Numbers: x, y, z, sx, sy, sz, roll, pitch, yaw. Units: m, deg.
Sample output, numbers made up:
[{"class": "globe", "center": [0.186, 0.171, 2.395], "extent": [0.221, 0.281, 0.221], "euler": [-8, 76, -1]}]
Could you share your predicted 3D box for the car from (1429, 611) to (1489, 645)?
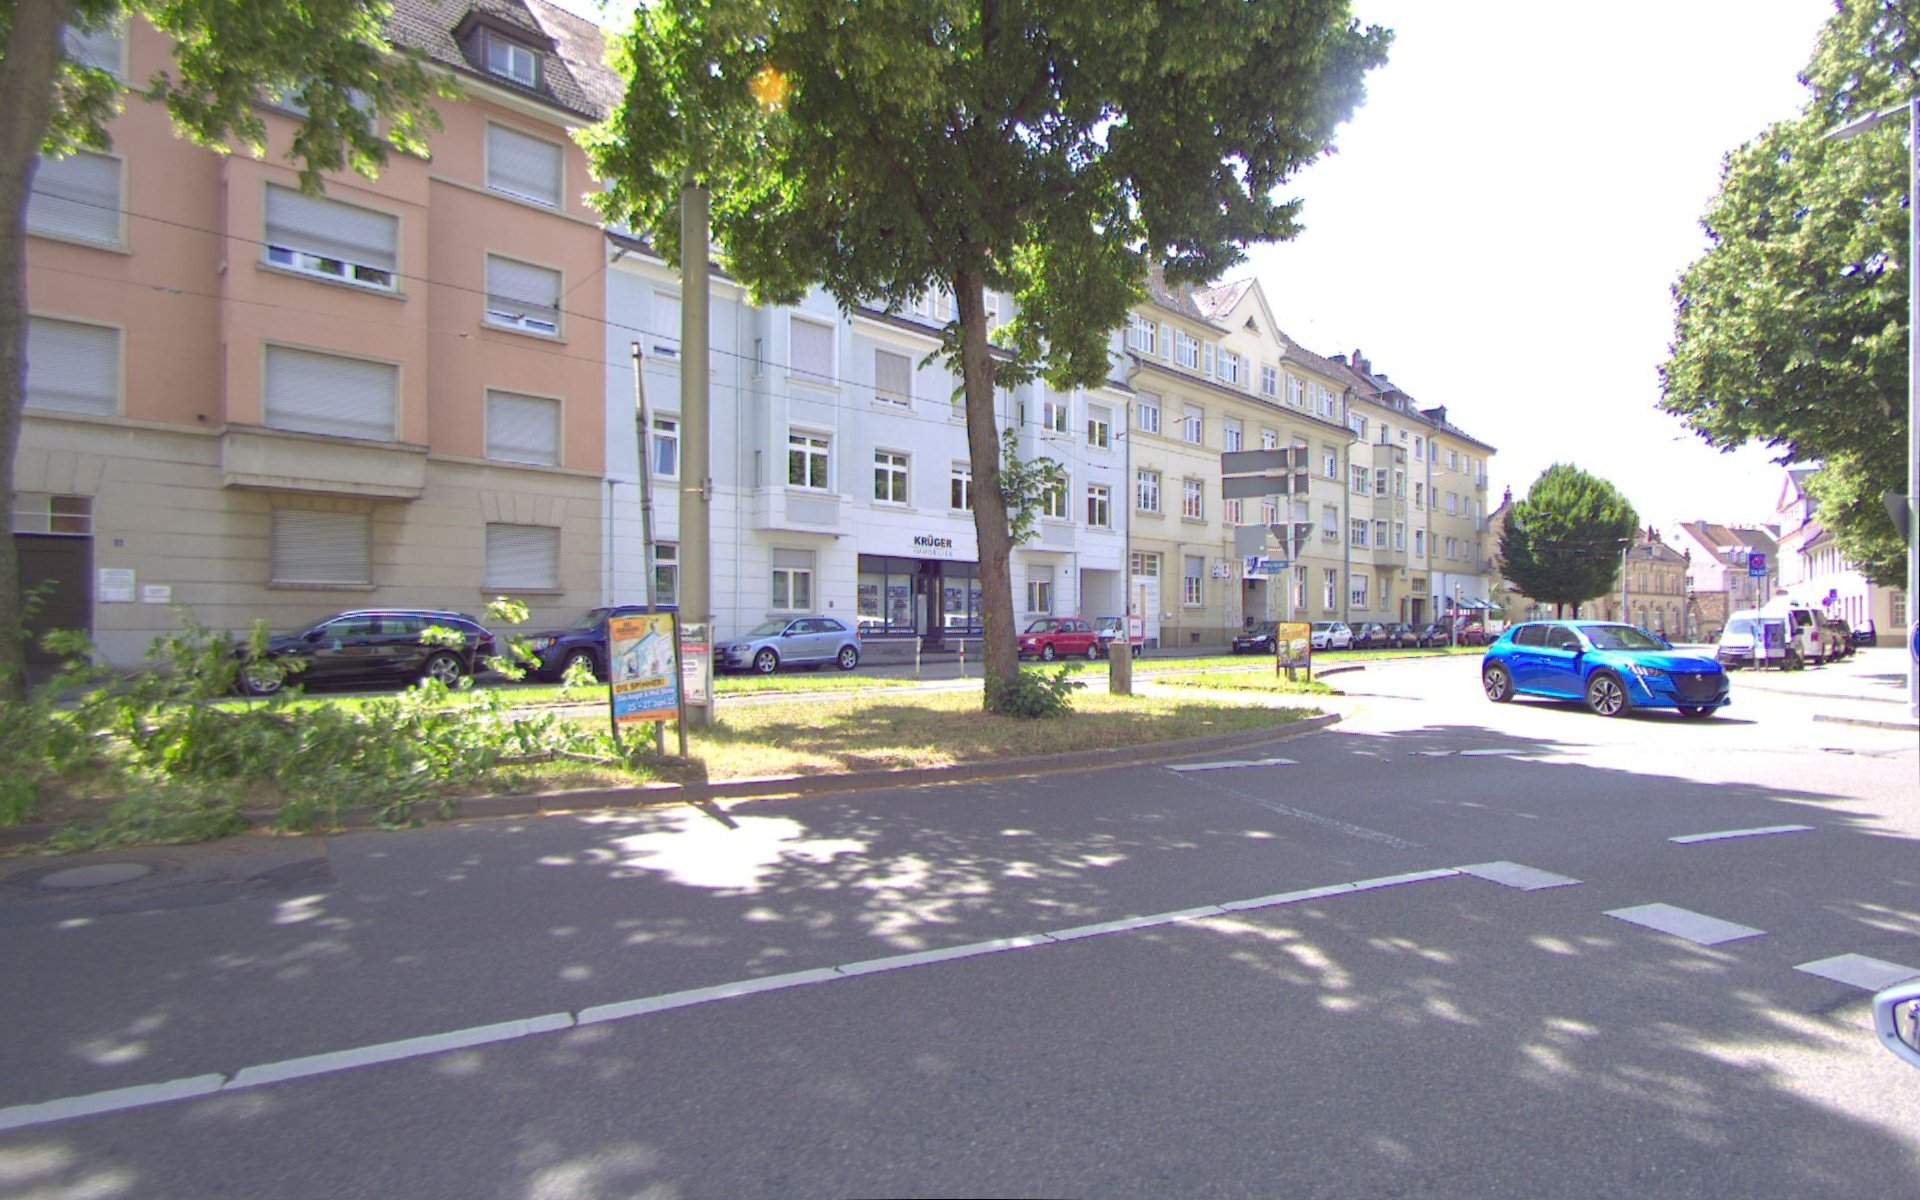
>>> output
[{"class": "car", "center": [30.500, 1.705, 61.342], "extent": [1.834, 1.936, 4.741], "euler": [-3, -3, 44]}]

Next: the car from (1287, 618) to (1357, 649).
[{"class": "car", "center": [17.255, 1.598, 47.848], "extent": [1.669, 1.408, 3.833], "euler": [-3, -3, 44]}]

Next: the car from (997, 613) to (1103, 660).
[{"class": "car", "center": [3.010, 1.200, 33.186], "extent": [1.555, 1.470, 3.603], "euler": [-3, -3, 44]}]

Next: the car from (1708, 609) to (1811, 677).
[{"class": "car", "center": [23.867, 1.217, 29.931], "extent": [1.973, 1.850, 4.395], "euler": [0, -1, 44]}]

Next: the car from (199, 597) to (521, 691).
[{"class": "car", "center": [-10.977, 0.783, 18.650], "extent": [1.908, 1.510, 4.832], "euler": [-3, -3, 44]}]

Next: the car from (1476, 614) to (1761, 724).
[{"class": "car", "center": [10.412, 1.003, 16.297], "extent": [1.781, 1.512, 3.997], "euler": [0, 0, -5]}]

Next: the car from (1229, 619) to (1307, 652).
[{"class": "car", "center": [13.491, 1.527, 43.918], "extent": [1.669, 1.378, 3.833], "euler": [-3, -3, 44]}]

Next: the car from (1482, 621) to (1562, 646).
[{"class": "car", "center": [35.871, 2.131, 64.135], "extent": [4.155, 1.524, 1.994], "euler": [-3, -3, 41]}]

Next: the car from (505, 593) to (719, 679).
[{"class": "car", "center": [-7.626, 0.786, 22.248], "extent": [1.818, 1.707, 4.117], "euler": [-3, -3, 44]}]

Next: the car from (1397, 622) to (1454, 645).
[{"class": "car", "center": [26.852, 1.907, 57.872], "extent": [1.625, 1.294, 4.237], "euler": [-3, -3, 44]}]

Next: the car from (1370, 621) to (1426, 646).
[{"class": "car", "center": [23.888, 1.828, 54.720], "extent": [1.586, 1.294, 3.564], "euler": [-3, -3, 44]}]

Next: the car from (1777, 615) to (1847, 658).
[{"class": "car", "center": [34.899, 1.453, 41.120], "extent": [4.455, 1.645, 1.766], "euler": [1, -1, -44]}]

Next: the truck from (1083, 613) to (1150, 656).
[{"class": "truck", "center": [5.664, 1.245, 36.274], "extent": [1.114, 1.514, 2.579], "euler": [-3, -3, 43]}]

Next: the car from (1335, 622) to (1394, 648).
[{"class": "car", "center": [20.695, 1.771, 51.385], "extent": [1.669, 1.294, 3.268], "euler": [-3, -3, 44]}]

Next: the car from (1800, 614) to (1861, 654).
[{"class": "car", "center": [39.940, 1.540, 46.042], "extent": [4.172, 1.716, 1.766], "euler": [1, -1, -44]}]

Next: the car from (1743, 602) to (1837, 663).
[{"class": "car", "center": [29.799, 1.124, 35.997], "extent": [5.213, 2.029, 2.029], "euler": [1, -1, -44]}]

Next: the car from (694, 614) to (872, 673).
[{"class": "car", "center": [-4.434, 1.079, 25.552], "extent": [1.789, 1.374, 4.224], "euler": [-3, -3, 44]}]
